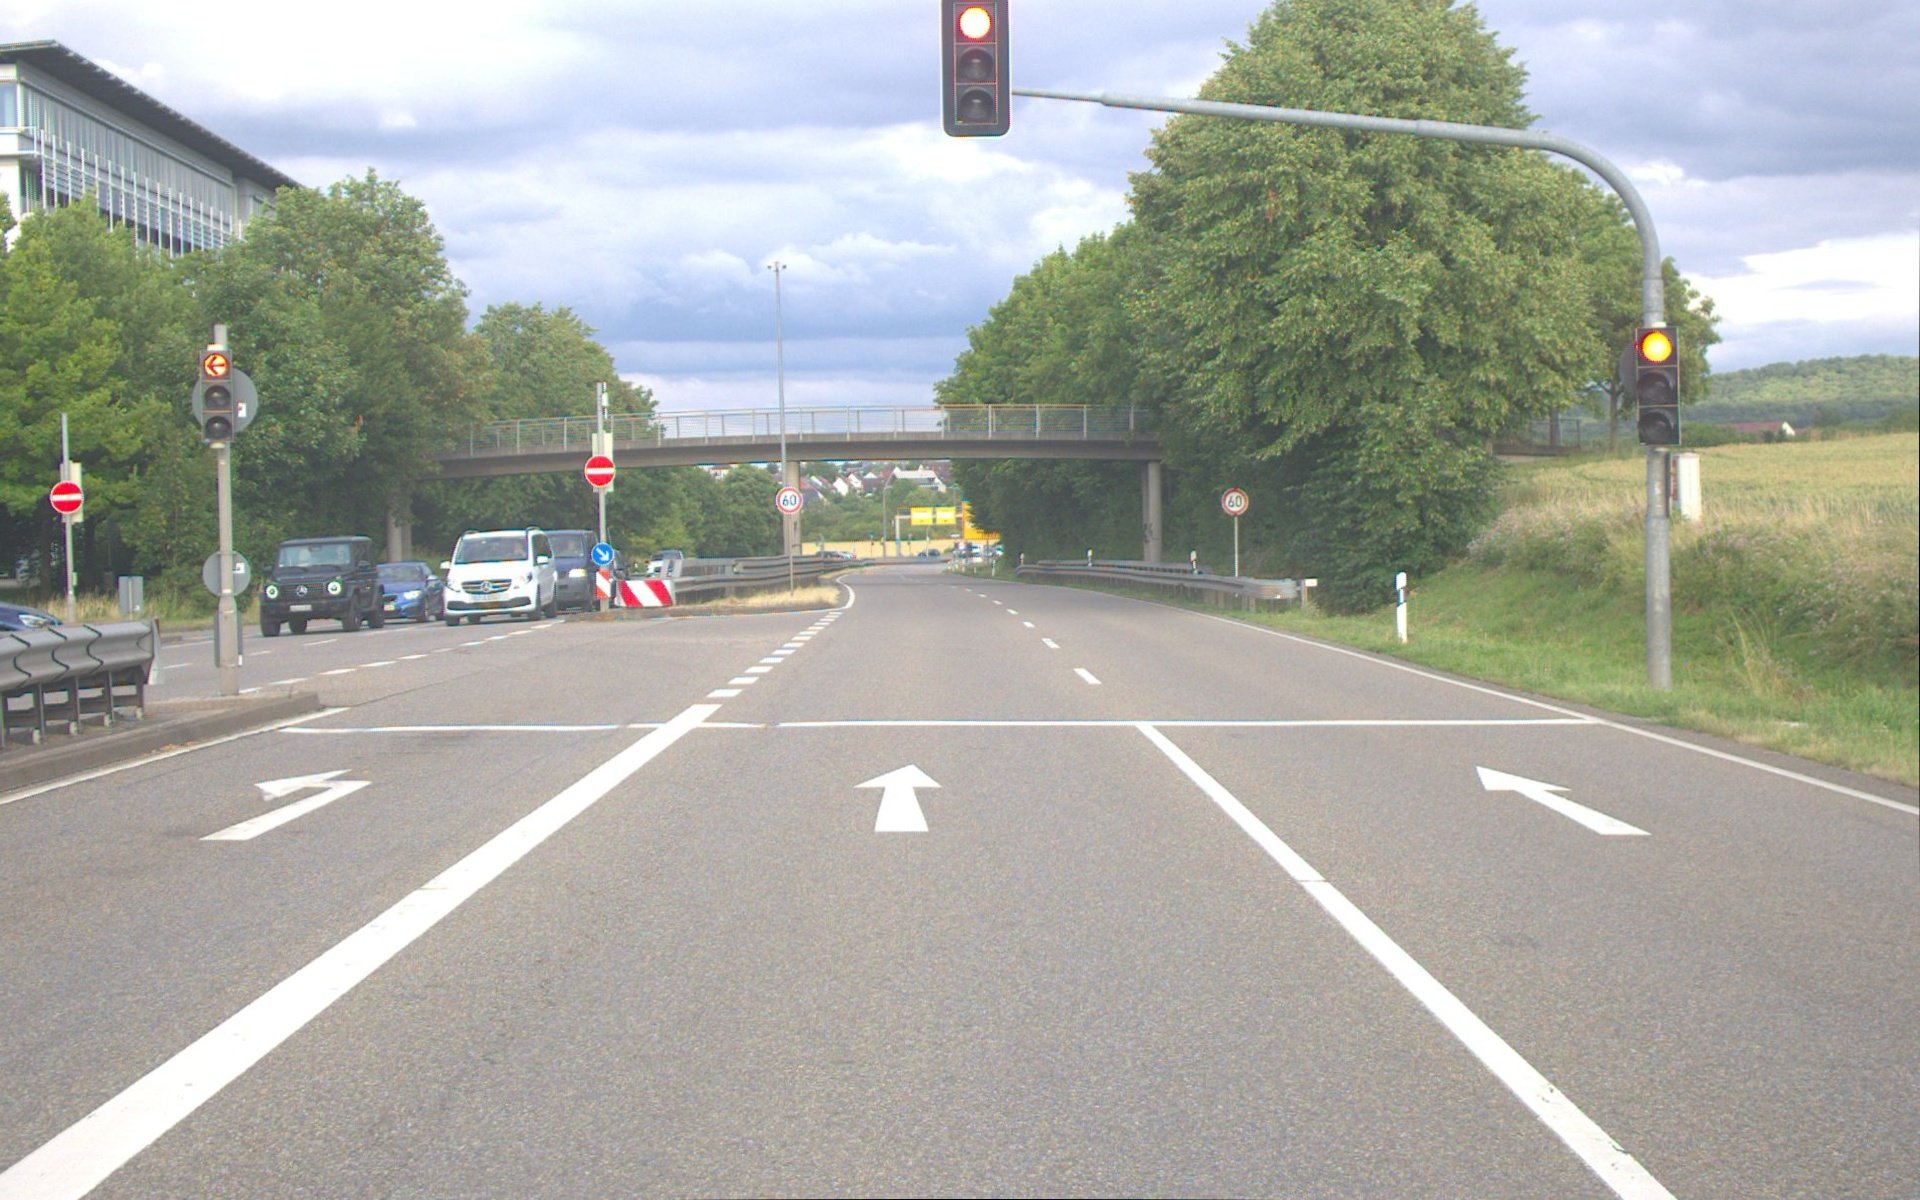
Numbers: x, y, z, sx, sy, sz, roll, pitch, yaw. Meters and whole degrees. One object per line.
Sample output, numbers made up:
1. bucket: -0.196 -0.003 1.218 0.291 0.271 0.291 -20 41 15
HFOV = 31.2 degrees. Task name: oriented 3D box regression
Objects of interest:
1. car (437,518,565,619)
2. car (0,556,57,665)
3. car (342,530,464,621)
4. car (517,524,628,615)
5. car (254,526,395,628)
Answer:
1. car: -9.506 -0.659 71.515 2.083 2.007 5.217 1 1 -2
2. car: -15.176 0.129 49.808 3.986 1.547 1.886 0 1 -14
3. car: -12.742 -0.575 78.920 2.083 2.007 5.217 1 1 -2
4. car: -8.897 -0.702 79.249 2.083 2.007 5.217 1 1 -2
5. car: -13.140 -0.489 71.420 2.083 2.007 5.217 1 1 -2
